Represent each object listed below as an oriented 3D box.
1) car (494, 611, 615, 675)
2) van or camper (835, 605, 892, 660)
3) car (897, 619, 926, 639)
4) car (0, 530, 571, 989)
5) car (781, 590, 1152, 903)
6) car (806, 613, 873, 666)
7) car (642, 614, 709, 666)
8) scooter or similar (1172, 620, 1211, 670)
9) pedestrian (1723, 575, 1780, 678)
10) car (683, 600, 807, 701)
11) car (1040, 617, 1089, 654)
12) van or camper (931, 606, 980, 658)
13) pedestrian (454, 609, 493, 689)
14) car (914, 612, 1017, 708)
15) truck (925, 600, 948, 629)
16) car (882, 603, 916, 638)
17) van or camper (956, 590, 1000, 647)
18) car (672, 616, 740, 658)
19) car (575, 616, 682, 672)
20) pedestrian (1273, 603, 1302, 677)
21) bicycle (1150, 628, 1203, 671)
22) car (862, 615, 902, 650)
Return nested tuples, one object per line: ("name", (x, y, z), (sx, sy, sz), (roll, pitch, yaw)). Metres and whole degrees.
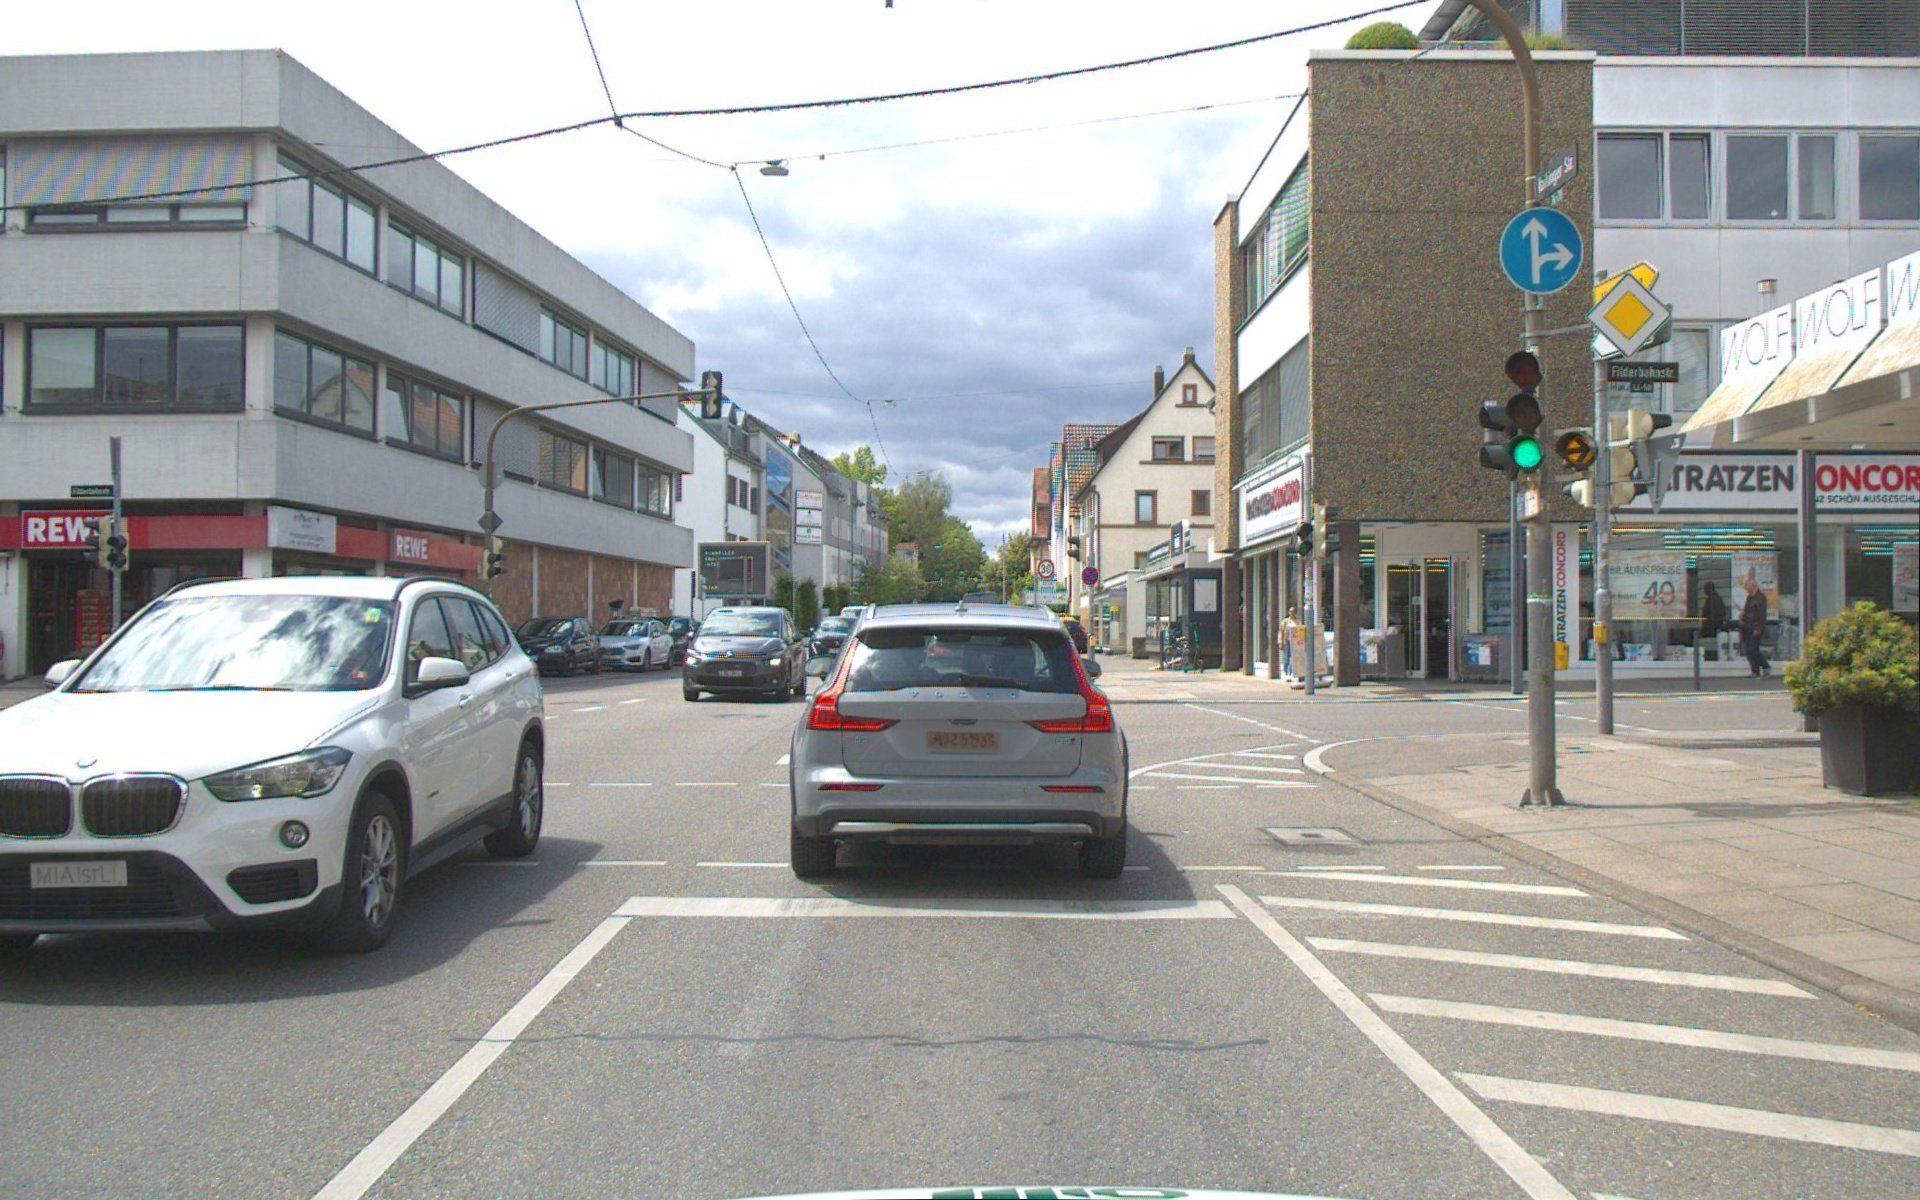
("car", (-10.138, 1.074, 41.641), (1.747, 1.490, 4.088), (1, -1, 4))
("van or camper", (-3.530, 1.150, 61.298), (1.826, 1.931, 4.692), (0, 0, 0))
("car", (-3.605, 2.144, 123.121), (1.725, 1.451, 4.002), (-1, -1, 5))
("car", (-3.294, 0.617, 8.244), (1.744, 1.668, 4.219), (-1, -1, -1))
("car", (0.014, 0.716, 10.020), (1.798, 1.512, 3.999), (0, 0, -1))
("car", (-3.573, 1.158, 49.540), (1.648, 1.523, 3.967), (0, -1, 0))
("car", (-9.117, 1.253, 53.175), (1.574, 1.570, 2.944), (2, -1, 1))
("scooter or similar", (6.024, 1.190, 43.069), (0.336, 1.275, 1.235), (-2, -2, -26))
("pedestrian", (13.724, 0.462, 28.681), (0.573, 1.735, 0.613), (-2, -1, -32))
("car", (-3.692, 0.850, 28.994), (1.753, 1.617, 4.099), (0, -1, -2))
("car", (4.455, 1.523, 70.762), (1.676, 1.490, 3.998), (1, -2, -2))
("van or camper", (-0.174, 1.235, 62.218), (1.782, 1.867, 3.998), (0, -3, -1))
("pedestrian", (-10.158, 1.017, 34.569), (0.606, 1.670, 0.660), (0, -1, 1))
("car", (0.073, 0.986, 27.976), (1.617, 1.508, 3.606), (1, -1, -1))
("truck", (-2.405, 1.518, 170.609), (2.229, 2.937, 7.079), (0, -1, 1))
("car", (-3.450, 1.188, 93.749), (1.800, 1.951, 4.155), (1, -1, -1))
("van or camper", (0.900, 0.938, 82.648), (2.079, 2.733, 4.781), (0, -1, 1))
("car", (-9.102, 1.316, 59.541), (1.719, 1.451, 3.863), (0, -1, 2))
("car", (-9.405, 1.213, 47.275), (1.864, 1.469, 4.445), (1, -1, 4))
("pedestrian", (6.692, 0.818, 33.809), (0.493, 1.485, 0.500), (-3, -2, 13))
("bicycle", (5.982, 1.353, 45.872), (0.546, 1.164, 2.288), (0, -1, -17))
("car", (-3.632, 1.497, 77.707), (1.634, 1.581, 4.215), (0, -1, 1))
